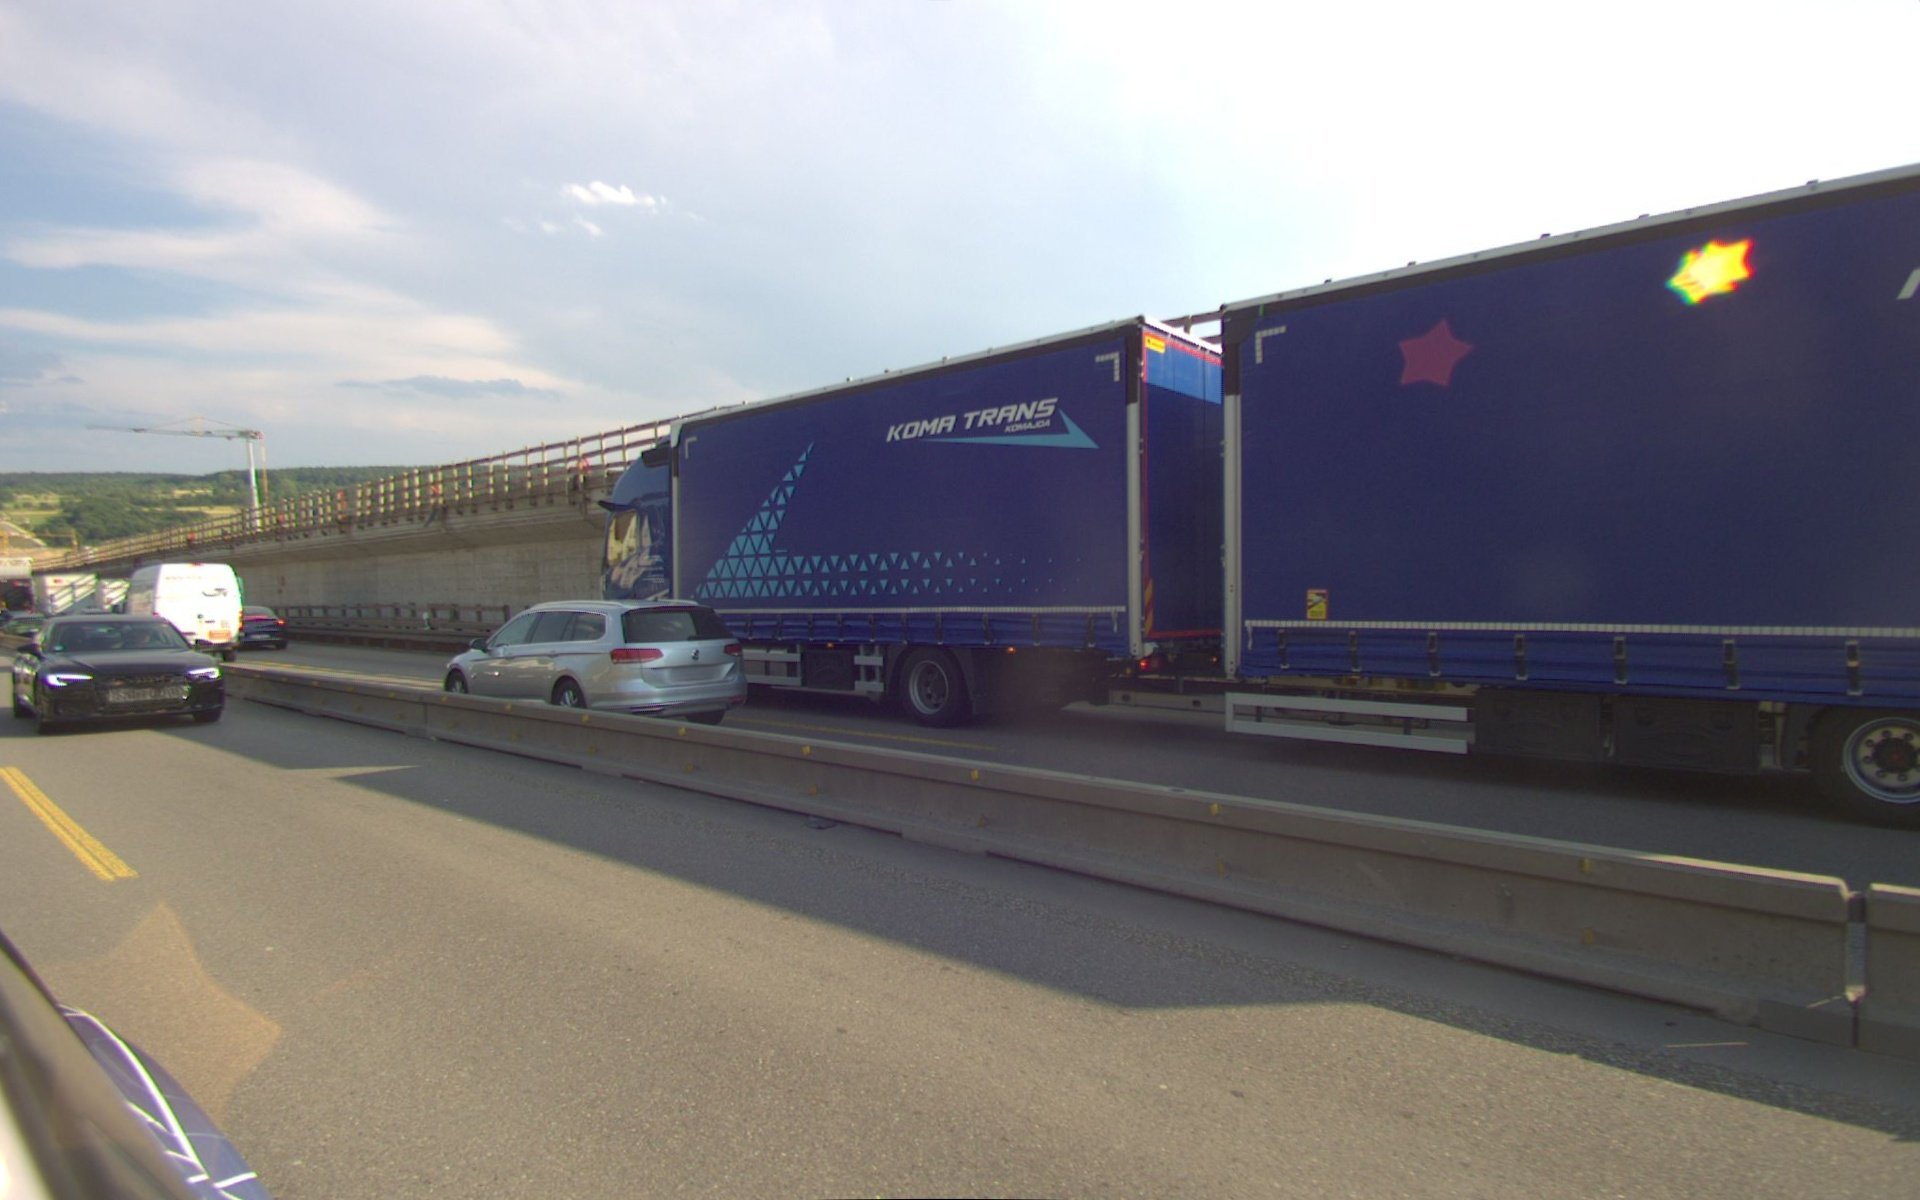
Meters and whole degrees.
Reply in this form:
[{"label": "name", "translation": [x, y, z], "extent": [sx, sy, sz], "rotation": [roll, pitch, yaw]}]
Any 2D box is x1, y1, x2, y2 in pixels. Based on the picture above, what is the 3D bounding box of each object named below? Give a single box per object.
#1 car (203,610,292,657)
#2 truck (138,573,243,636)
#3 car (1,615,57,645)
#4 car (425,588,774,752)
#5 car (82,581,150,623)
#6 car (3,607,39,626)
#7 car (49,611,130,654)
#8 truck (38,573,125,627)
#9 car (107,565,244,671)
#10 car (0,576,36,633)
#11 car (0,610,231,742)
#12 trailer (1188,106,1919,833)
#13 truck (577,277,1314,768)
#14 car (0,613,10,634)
[{"label": "car", "translation": [-24.338, 1.098, 34.533], "extent": [4.001, 1.397, 1.689], "rotation": [-1, 4, 44]}, {"label": "truck", "translation": [-31.963, 0.194, 41.951], "extent": [6.063, 2.317, 2.251], "rotation": [-1, 4, 42]}, {"label": "car", "translation": [-47.804, 1.516, 51.947], "extent": [3.664, 1.329, 1.690], "rotation": [-1, 4, 42]}, {"label": "car", "translation": [-4.260, 0.676, 11.544], "extent": [4.590, 1.451, 1.724], "rotation": [-1, 2, 42]}, {"label": "car", "translation": [-45.689, 0.092, 54.768], "extent": [3.972, 2.037, 2.186], "rotation": [-1, 4, 42]}, {"label": "car", "translation": [-74.269, 1.317, 80.031], "extent": [3.664, 1.329, 1.690], "rotation": [-1, 4, 42]}, {"label": "car", "translation": [-31.082, 1.132, 36.104], "extent": [3.664, 1.329, 1.690], "rotation": [-1, 4, 42]}, {"label": "truck", "translation": [-54.758, -0.001, 63.024], "extent": [6.486, 3.169, 3.201], "rotation": [-1, 0, 41]}, {"label": "car", "translation": [-21.579, 0.479, 27.738], "extent": [5.611, 2.636, 1.975], "rotation": [-1, -1, 42]}, {"label": "car", "translation": [-95.145, 0.452, 100.976], "extent": [14.300, 5.427, 3.283], "rotation": [-1, 0, 43]}, {"label": "car", "translation": [-11.970, 0.914, 14.063], "extent": [5.220, 1.491, 1.920], "rotation": [-1, -1, 42]}, {"label": "trailer", "translation": [6.027, -0.753, 7.135], "extent": [8.283, 4.136, 2.786], "rotation": [-1, 0, 41]}, {"label": "truck", "translation": [-1.074, -0.650, 13.386], "extent": [10.576, 4.290, 2.786], "rotation": [-1, 0, 41]}, {"label": "car", "translation": [-66.354, 1.655, 69.176], "extent": [3.664, 1.329, 1.690], "rotation": [-1, 4, 42]}]
